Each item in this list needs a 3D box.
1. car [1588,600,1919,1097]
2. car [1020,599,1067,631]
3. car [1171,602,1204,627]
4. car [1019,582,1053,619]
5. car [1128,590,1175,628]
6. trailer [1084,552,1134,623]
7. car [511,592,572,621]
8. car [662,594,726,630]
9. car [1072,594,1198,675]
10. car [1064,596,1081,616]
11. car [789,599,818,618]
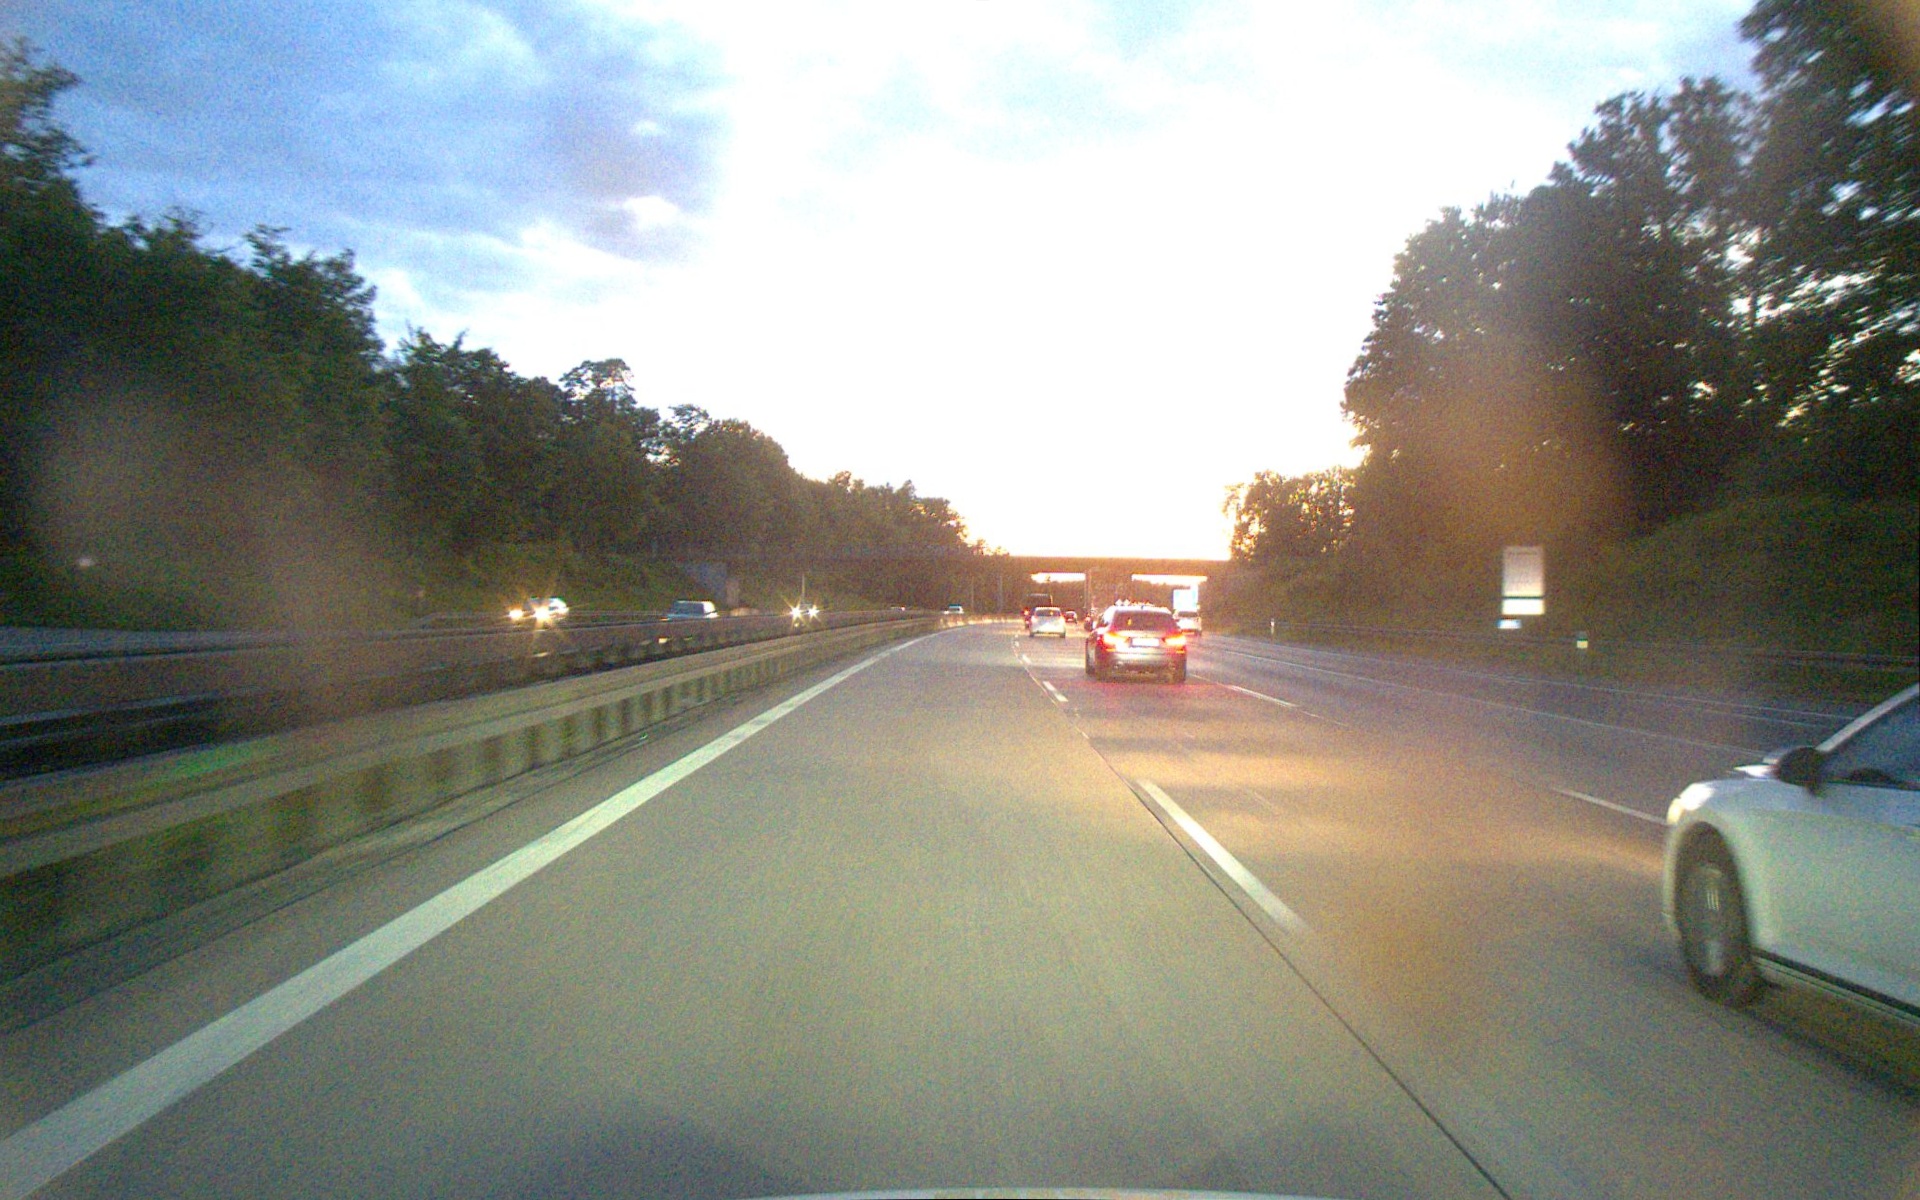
[{"bbox_3d":[3.850,0.792,5.177,1.772,1.491,5.132,0,1,-1],"label":"car"},{"bbox_3d":[4.047,0.705,80.595,1.823,1.467,3.717,0,0,-4],"label":"car"},{"bbox_3d":[13.800,0.911,100.519,1.820,1.467,4.114,0,-1,6],"label":"car"},{"bbox_3d":[5.364,0.053,116.254,2.120,2.461,5.566,1,-2,5],"label":"car"},{"bbox_3d":[8.637,0.422,74.830,1.863,1.672,5.054,1,-1,4],"label":"car"},{"bbox_3d":[9.495,-0.710,106.218,2.846,4.173,10.361,1,-1,4],"label":"trailer"},{"bbox_3d":[-21.326,0.323,84.467,1.777,1.405,4.908,1,0,1],"label":"car"},{"bbox_3d":[-10.912,0.474,68.188,1.777,1.405,4.908,1,0,1],"label":"car"},{"bbox_3d":[3.589,0.665,34.899,1.871,1.564,5.229,0,0,-3],"label":"car"},{"bbox_3d":[14.631,0.829,215.703,2.120,2.461,5.566,1,-2,4],"label":"car"},{"bbox_3d":[-12.545,0.647,132.512,1.804,1.480,3.603,1,0,3],"label":"car"}]
